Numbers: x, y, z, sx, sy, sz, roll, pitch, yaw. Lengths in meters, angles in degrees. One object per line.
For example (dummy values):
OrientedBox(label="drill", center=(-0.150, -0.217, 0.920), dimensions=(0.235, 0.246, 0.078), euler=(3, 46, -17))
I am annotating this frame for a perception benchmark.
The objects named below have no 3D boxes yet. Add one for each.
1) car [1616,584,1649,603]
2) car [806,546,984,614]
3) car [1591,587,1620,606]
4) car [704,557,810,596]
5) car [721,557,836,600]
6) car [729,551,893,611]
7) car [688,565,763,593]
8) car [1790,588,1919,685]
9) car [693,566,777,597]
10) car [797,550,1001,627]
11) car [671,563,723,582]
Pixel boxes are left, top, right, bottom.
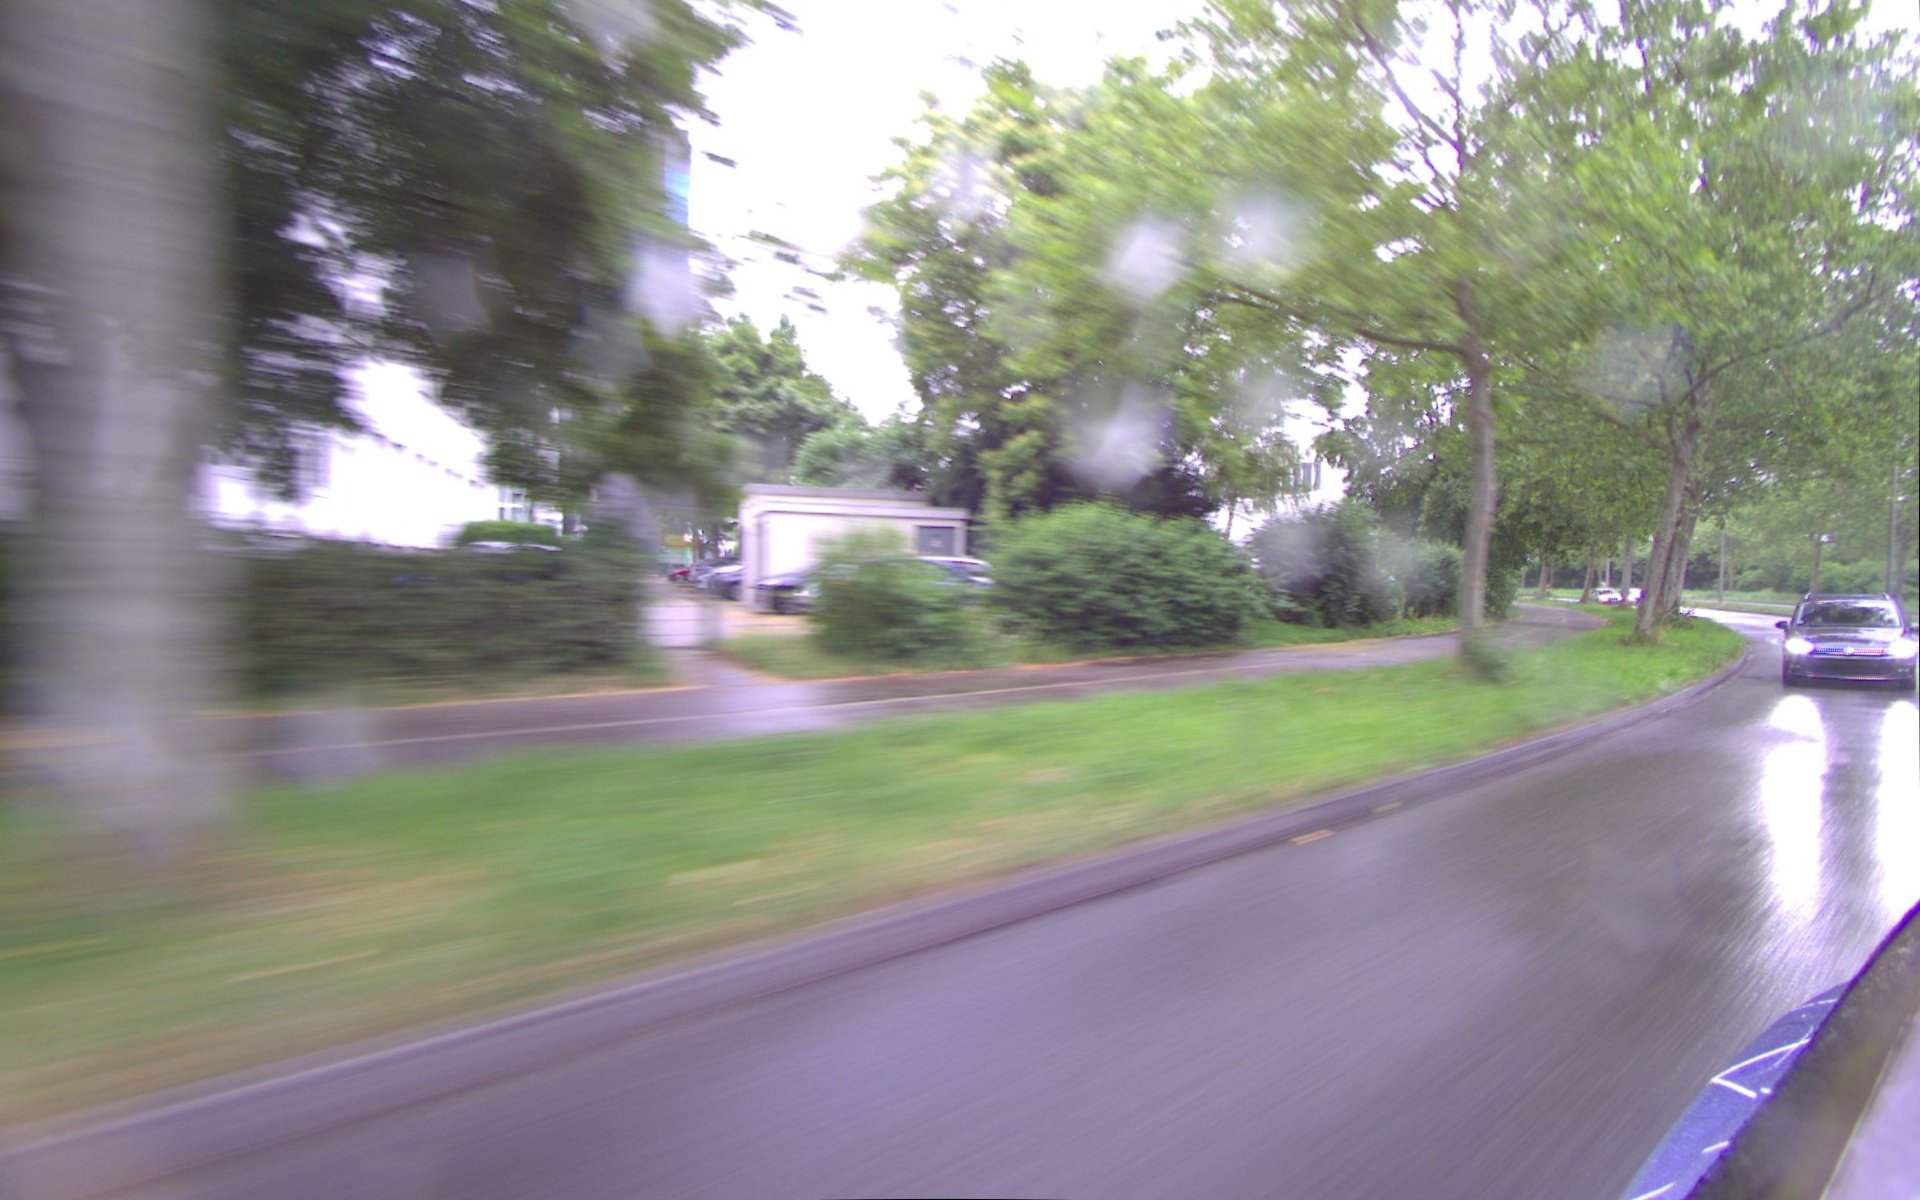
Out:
OrientedBox(label="car", center=(58.065, -0.549, 87.445), dimensions=(1.767, 1.575, 3.964), euler=(1, 1, 26))
OrientedBox(label="car", center=(-1.454, -0.428, 22.691), dimensions=(3.630, 1.438, 1.601), euler=(0, 0, -25))
OrientedBox(label="car", center=(54.045, -0.291, 84.749), dimensions=(1.770, 1.575, 3.959), euler=(1, 1, 29))
OrientedBox(label="car", center=(-7.379, -0.840, 36.803), dimensions=(3.628, 1.375, 1.601), euler=(0, 0, -17))
OrientedBox(label="car", center=(-6.123, -0.702, 34.072), dimensions=(3.628, 1.375, 1.601), euler=(0, 0, -17))
OrientedBox(label="car", center=(-3.617, -0.434, 24.607), dimensions=(3.630, 1.375, 1.601), euler=(0, 0, -25))
OrientedBox(label="car", center=(-12.148, -1.087, 52.403), dimensions=(3.628, 1.417, 1.601), euler=(0, 0, -17))
OrientedBox(label="car", center=(16.381, 0.585, 18.418), dimensions=(1.778, 1.575, 3.939), euler=(-1, -1, 42))
OrientedBox(label="car", center=(-10.284, -0.841, 46.156), dimensions=(3.628, 1.375, 1.601), euler=(0, 0, -17))
OrientedBox(label="car", center=(-1.177, -0.217, 19.655), dimensions=(3.630, 1.375, 1.601), euler=(0, 0, -25))
OrientedBox(label="car", center=(-19.668, -2.023, 75.636), dimensions=(3.628, 1.375, 1.601), euler=(0, 0, -17))
